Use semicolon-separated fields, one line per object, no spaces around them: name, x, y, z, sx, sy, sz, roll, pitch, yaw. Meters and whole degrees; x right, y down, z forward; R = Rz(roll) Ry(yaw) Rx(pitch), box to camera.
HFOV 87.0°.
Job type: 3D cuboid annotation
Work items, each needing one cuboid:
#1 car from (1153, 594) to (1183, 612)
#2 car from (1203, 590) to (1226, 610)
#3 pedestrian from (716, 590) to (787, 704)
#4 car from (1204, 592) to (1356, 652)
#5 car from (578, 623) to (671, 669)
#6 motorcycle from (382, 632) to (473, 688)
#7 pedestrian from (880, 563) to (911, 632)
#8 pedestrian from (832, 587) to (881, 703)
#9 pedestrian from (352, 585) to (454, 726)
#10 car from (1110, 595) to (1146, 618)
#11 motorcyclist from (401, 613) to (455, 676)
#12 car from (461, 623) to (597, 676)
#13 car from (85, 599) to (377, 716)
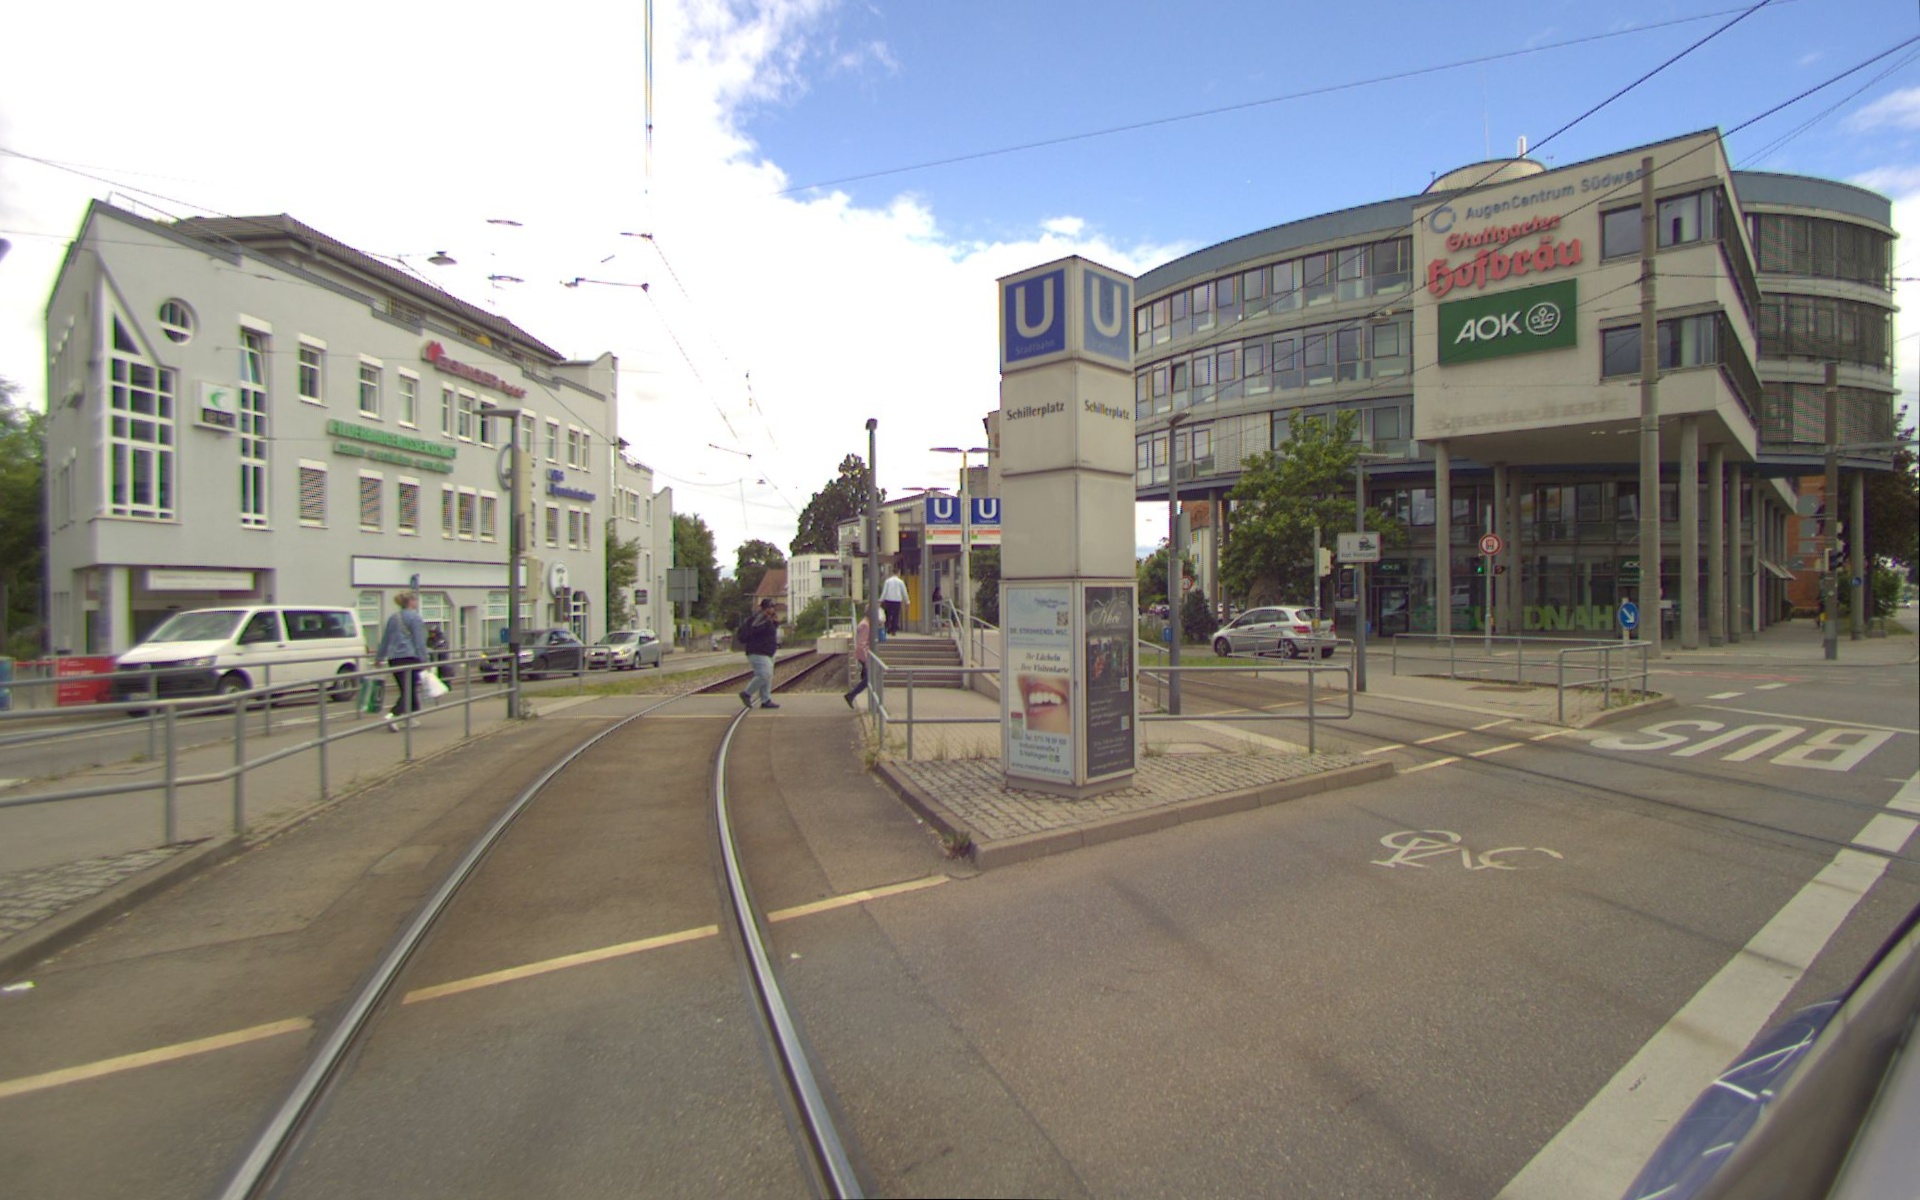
car;20.799;0.300;101.303;1.961;1.732;4.319;-1;-1;-2
car;32.173;0.067;127.993;1.964;2.446;4.480;-1;-1;5
pedestrian;-3.145;0.714;15.312;0.832;1.656;0.643;-3;-3;9
car;9.834;0.659;31.417;1.960;1.732;4.322;0;-1;-29
car;-12.360;1.656;37.608;1.845;1.457;4.749;-1;0;0
motorcycle;-13.033;1.449;24.862;0.872;1.244;2.150;0;0;9
pedestrian;-1.695;-0.053;26.645;0.681;1.767;0.616;-2;-3;-11
pedestrian;-1.520;0.655;14.855;0.518;1.656;0.585;-3;-3;12
pedestrian;-6.823;0.655;12.433;0.870;1.668;0.808;0;0;-8
car;13.295;0.513;80.110;1.961;1.732;4.319;-1;-1;-2
motorcyclist;-13.044;1.085;24.817;0.873;1.494;0.804;0;0;9
car;-13.002;1.473;30.910;1.847;1.465;4.777;-1;-2;4
car;-13.589;0.959;19.340;1.846;1.919;4.923;-1;0;3
